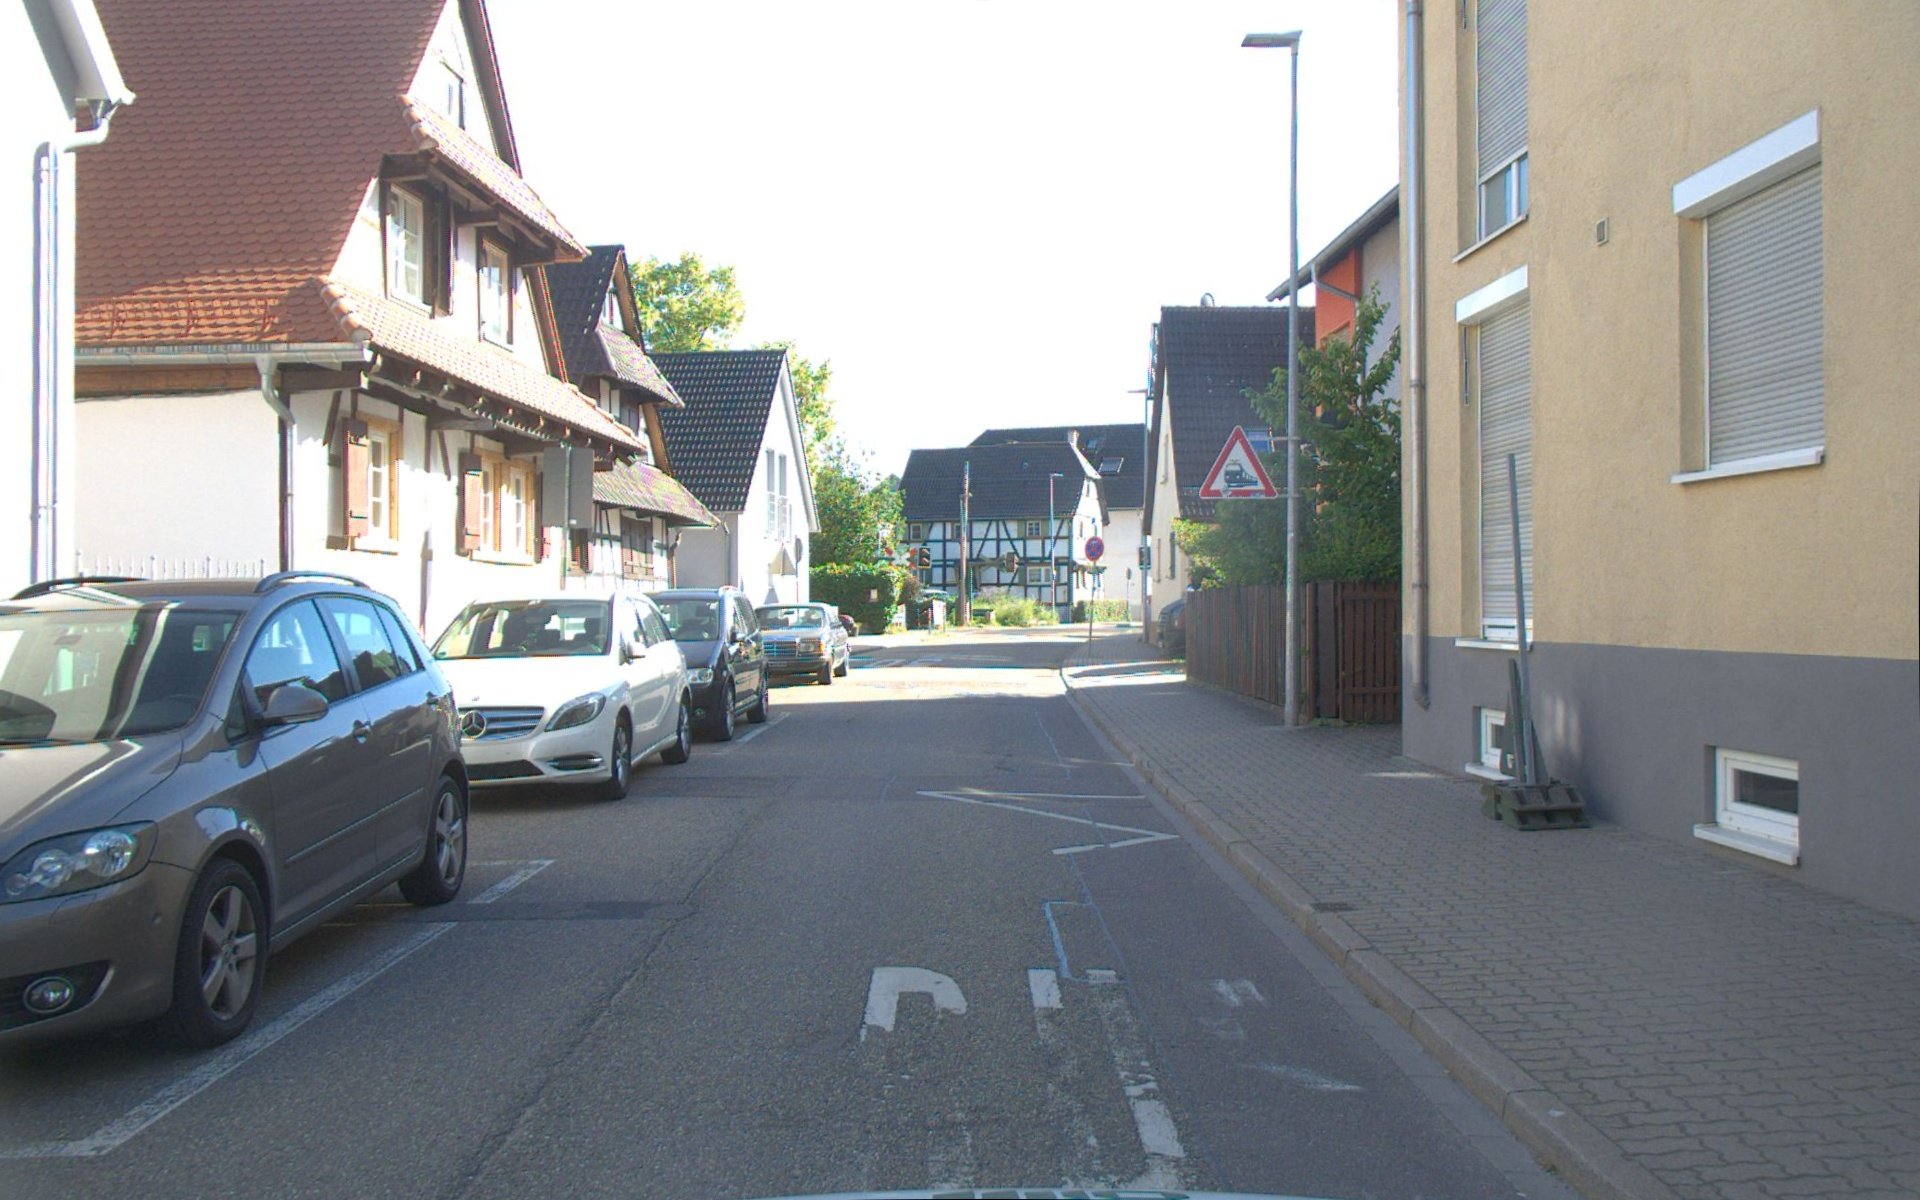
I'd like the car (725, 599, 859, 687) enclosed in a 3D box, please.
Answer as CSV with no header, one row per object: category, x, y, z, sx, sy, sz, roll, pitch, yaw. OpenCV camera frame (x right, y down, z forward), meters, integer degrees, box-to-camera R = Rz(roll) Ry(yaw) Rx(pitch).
car,-3.004,0.748,30.514,1.806,1.431,5.037,-2,-1,1

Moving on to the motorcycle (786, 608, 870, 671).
motorcycle,-2.750,0.809,34.207,0.622,1.253,1.962,-1,0,-44

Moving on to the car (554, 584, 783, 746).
car,-3.197,0.668,18.974,1.747,1.633,4.362,-1,0,1

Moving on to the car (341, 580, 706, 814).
car,-3.327,0.686,13.481,1.779,1.594,4.168,-1,-1,1

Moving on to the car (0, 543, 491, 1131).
car,-3.264,0.689,6.615,1.707,1.642,3.999,-1,-1,-1

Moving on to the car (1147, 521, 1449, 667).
car,6.874,-0.110,34.034,5.687,2.701,1.966,-2,-1,-3

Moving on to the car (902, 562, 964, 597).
car,-1.334,-0.973,79.300,1.660,1.592,3.973,2,-1,-22
